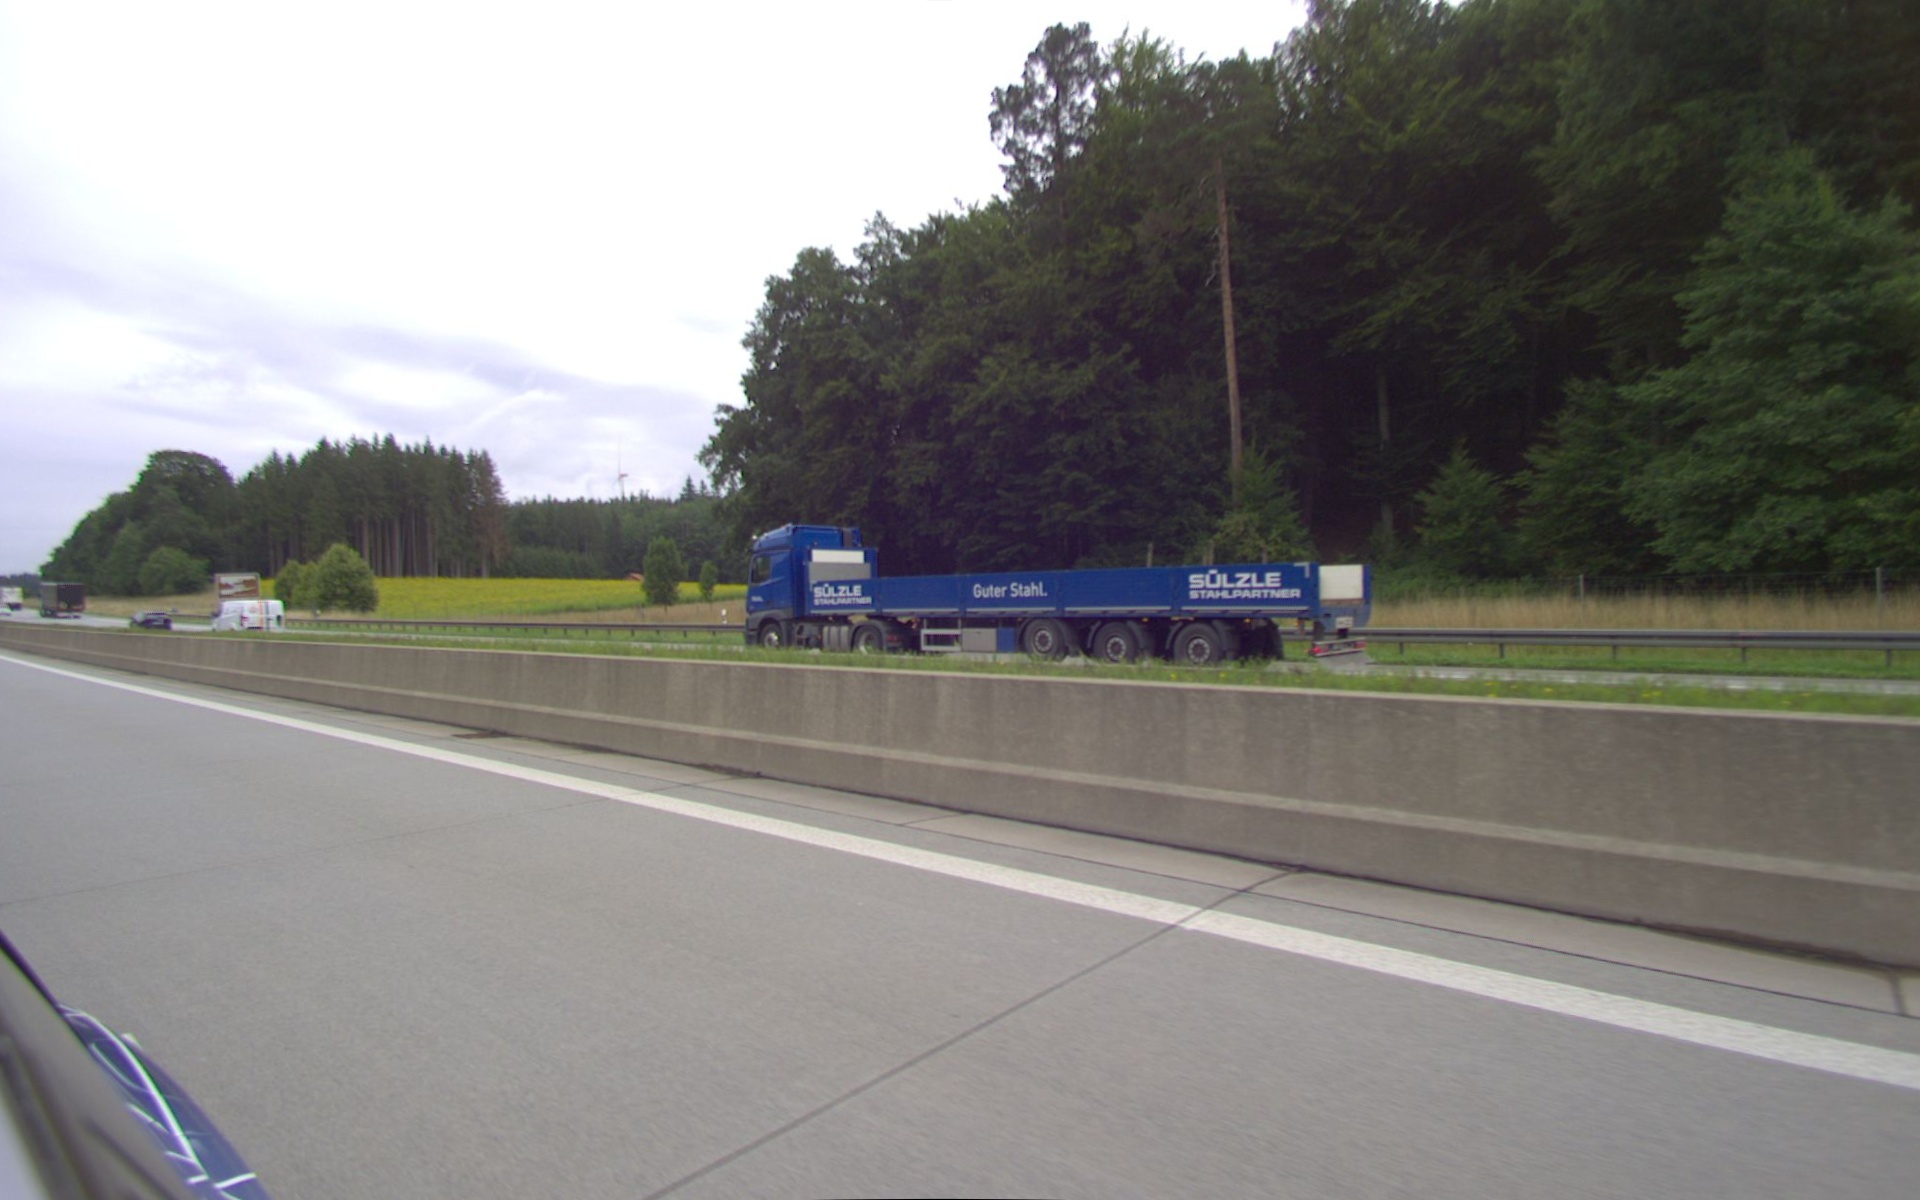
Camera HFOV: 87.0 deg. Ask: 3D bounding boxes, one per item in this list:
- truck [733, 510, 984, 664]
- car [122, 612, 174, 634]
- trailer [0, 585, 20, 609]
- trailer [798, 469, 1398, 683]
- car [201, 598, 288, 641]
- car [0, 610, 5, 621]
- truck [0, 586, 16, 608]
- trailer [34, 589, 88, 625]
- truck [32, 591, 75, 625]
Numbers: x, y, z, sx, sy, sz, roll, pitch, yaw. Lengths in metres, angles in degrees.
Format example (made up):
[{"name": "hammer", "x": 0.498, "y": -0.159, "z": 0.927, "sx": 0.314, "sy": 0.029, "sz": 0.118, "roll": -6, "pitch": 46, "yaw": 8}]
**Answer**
[{"name": "truck", "x": -2.808, "y": -0.294, "z": 26.559, "sx": 6.637, "sy": 3.543, "sz": 2.728, "roll": -1, "pitch": 0, "yaw": 41}, {"name": "car", "x": -54.007, "y": 1.521, "z": 67.281, "sx": 4.432, "sy": 1.387, "sz": 1.829, "roll": -1, "pitch": 0, "yaw": 39}, {"name": "trailer", "x": -158.647, "y": -0.515, "z": 168.346, "sx": 7.715, "sy": 3.811, "sz": 2.788, "roll": -1, "pitch": 0, "yaw": 43}, {"name": "trailer", "x": 2.002, "y": -0.348, "z": 22.331, "sx": 13.878, "sy": 3.534, "sz": 2.756, "roll": -1, "pitch": 0, "yaw": 41}, {"name": "car", "x": -33.098, "y": 0.877, "z": 46.749, "sx": 5.494, "sy": 1.815, "sz": 2.066, "roll": -1, "pitch": 0, "yaw": 41}, {"name": "car", "x": -125.779, "y": 2.050, "z": 131.682, "sx": 4.369, "sy": 1.479, "sz": 1.765, "roll": -1, "pitch": -1, "yaw": 41}, {"name": "truck", "x": -165.636, "y": -0.496, "z": 174.843, "sx": 11.351, "sy": 3.801, "sz": 2.782, "roll": 0, "pitch": 1, "yaw": 43}, {"name": "trailer", "x": -107.562, "y": 0.867, "z": 121.025, "sx": 14.126, "sy": 4.083, "sz": 3.201, "roll": -1, "pitch": 0, "yaw": 42}, {"name": "truck", "x": -112.017, "y": 0.960, "z": 125.002, "sx": 7.163, "sy": 4.088, "sz": 3.179, "roll": -1, "pitch": 0, "yaw": 42}]
